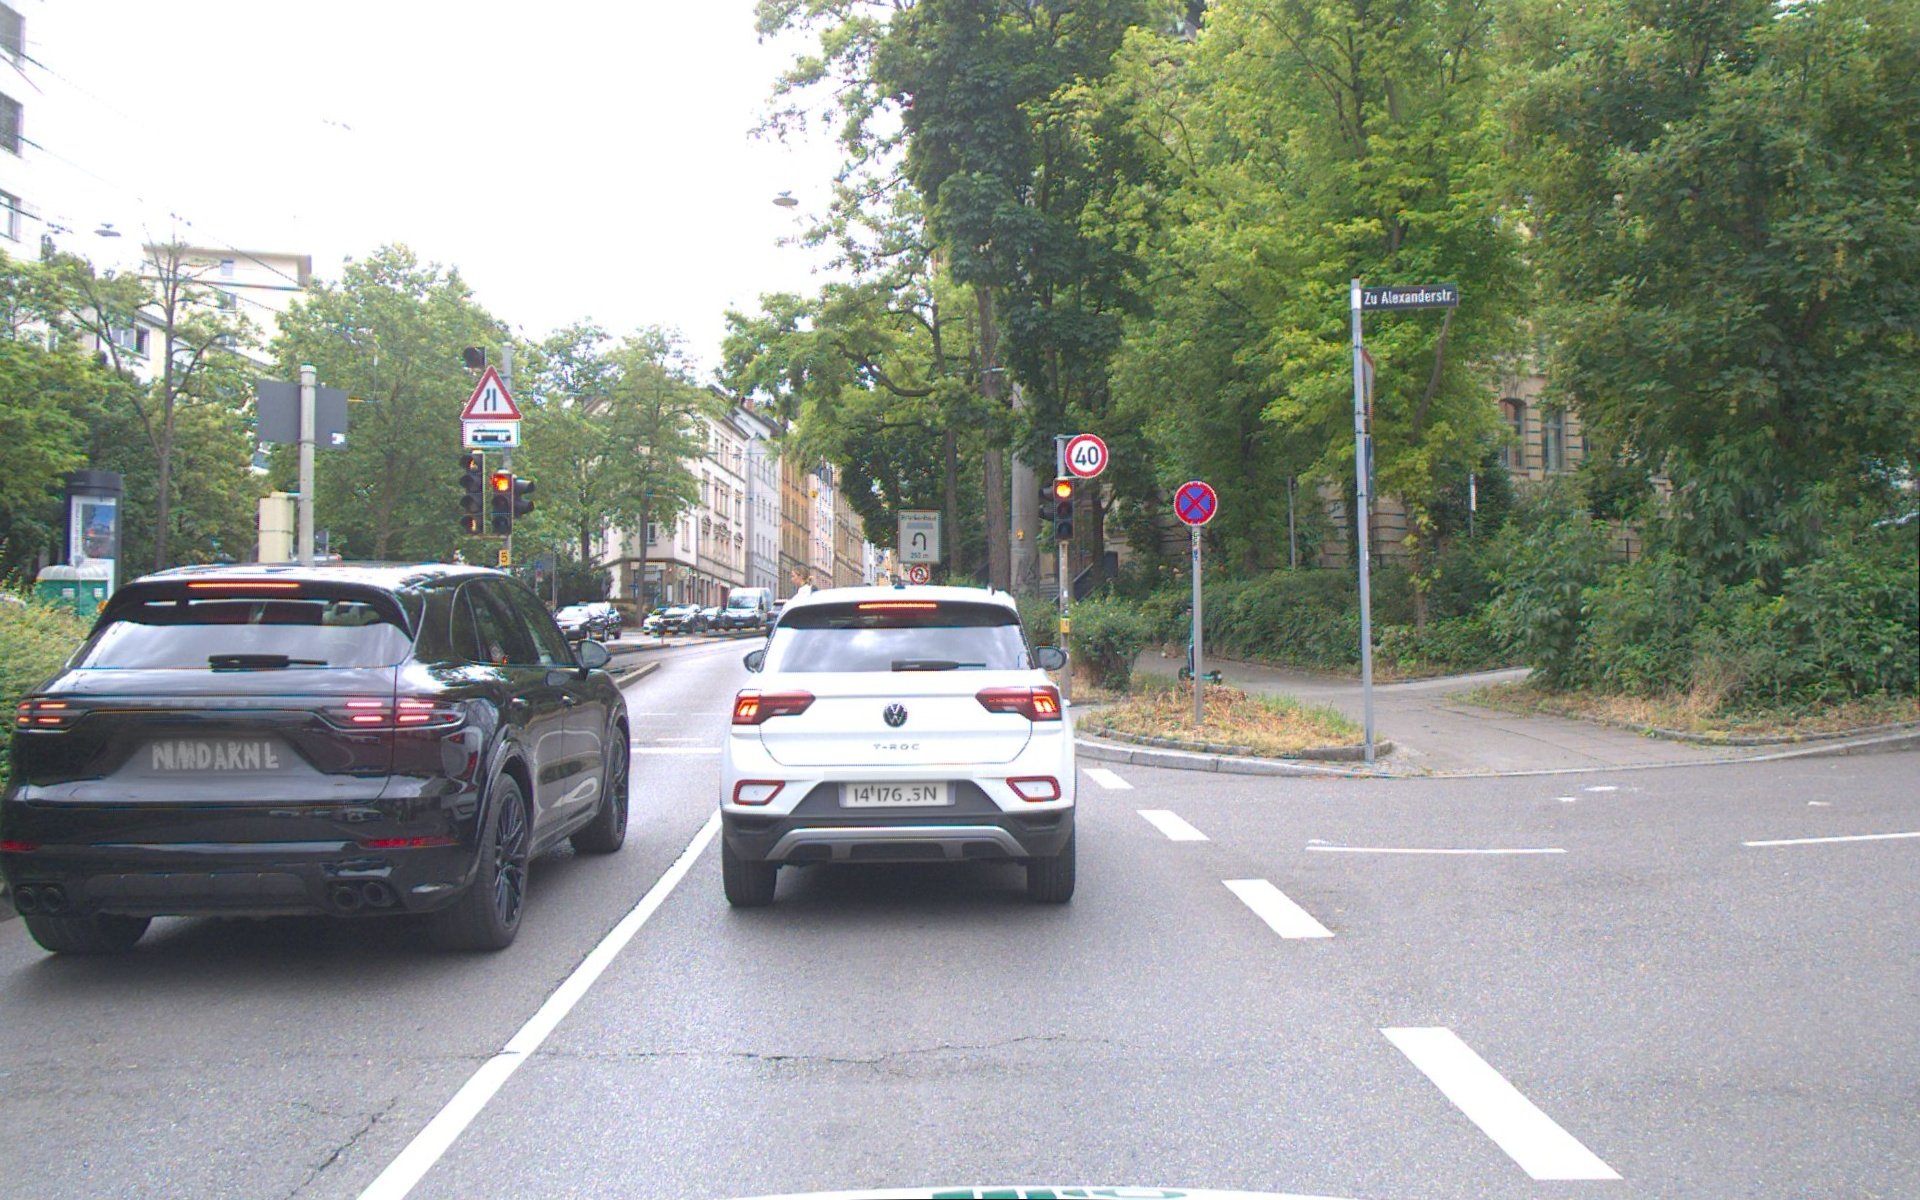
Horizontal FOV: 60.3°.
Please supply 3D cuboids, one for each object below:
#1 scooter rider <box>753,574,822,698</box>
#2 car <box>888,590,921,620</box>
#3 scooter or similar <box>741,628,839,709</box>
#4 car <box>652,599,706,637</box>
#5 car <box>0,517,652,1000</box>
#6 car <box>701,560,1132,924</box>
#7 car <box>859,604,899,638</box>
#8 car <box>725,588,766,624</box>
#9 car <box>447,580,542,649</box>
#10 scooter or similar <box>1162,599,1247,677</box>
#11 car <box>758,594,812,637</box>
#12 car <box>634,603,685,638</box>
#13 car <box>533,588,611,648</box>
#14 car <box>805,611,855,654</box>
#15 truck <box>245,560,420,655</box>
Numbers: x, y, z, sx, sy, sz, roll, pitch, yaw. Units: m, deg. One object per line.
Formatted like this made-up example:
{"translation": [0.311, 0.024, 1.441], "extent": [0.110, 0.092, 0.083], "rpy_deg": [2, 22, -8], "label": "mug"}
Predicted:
{"translation": [-2.249, 0.467, 21.614], "extent": [0.761, 1.585, 0.533], "rpy_deg": [-1, 0, 9], "label": "scooter rider"}
{"translation": [-4.162, 0.378, 125.343], "extent": [2.372, 2.207, 6.032], "rpy_deg": [-1, 0, -1], "label": "car"}
{"translation": [-2.217, 0.889, 21.611], "extent": [1.162, 1.011, 0.532], "rpy_deg": [-1, 0, 9], "label": "scooter or similar"}
{"translation": [-13.748, 0.900, 81.130], "extent": [1.953, 1.652, 3.998], "rpy_deg": [2, -3, -1], "label": "car"}
{"translation": [-2.898, 0.634, 8.296], "extent": [1.987, 1.714, 4.778], "rpy_deg": [0, -2, -2], "label": "car"}
{"translation": [-0.374, 0.669, 9.365], "extent": [1.900, 1.594, 4.041], "rpy_deg": [1, -1, -6], "label": "car"}
{"translation": [-4.304, 1.137, 88.506], "extent": [1.953, 1.652, 3.998], "rpy_deg": [2, -3, -1], "label": "car"}
{"translation": [-12.637, 0.335, 97.674], "extent": [1.953, 2.049, 3.999], "rpy_deg": [-1, 0, -1], "label": "car"}
{"translation": [-15.265, 0.532, 54.478], "extent": [1.953, 2.049, 3.998], "rpy_deg": [2, -3, -1], "label": "car"}
{"translation": [3.644, 0.567, 24.707], "extent": [0.469, 1.119, 1.353], "rpy_deg": [-1, 0, -32], "label": "scooter or similar"}
{"translation": [-7.676, 0.707, 72.774], "extent": [1.801, 1.770, 4.000], "rpy_deg": [1, -1, 1], "label": "car"}
{"translation": [-15.940, 1.130, 87.962], "extent": [1.953, 1.652, 3.998], "rpy_deg": [2, -3, -1], "label": "car"}
{"translation": [-14.551, 0.722, 62.254], "extent": [1.953, 2.049, 3.998], "rpy_deg": [2, -3, -1], "label": "car"}
{"translation": [-5.305, 1.342, 67.932], "extent": [1.865, 1.602, 3.831], "rpy_deg": [2, -3, -3], "label": "car"}
{"translation": [-16.180, 0.214, 43.050], "extent": [2.373, 2.207, 6.030], "rpy_deg": [2, -1, -2], "label": "truck"}
